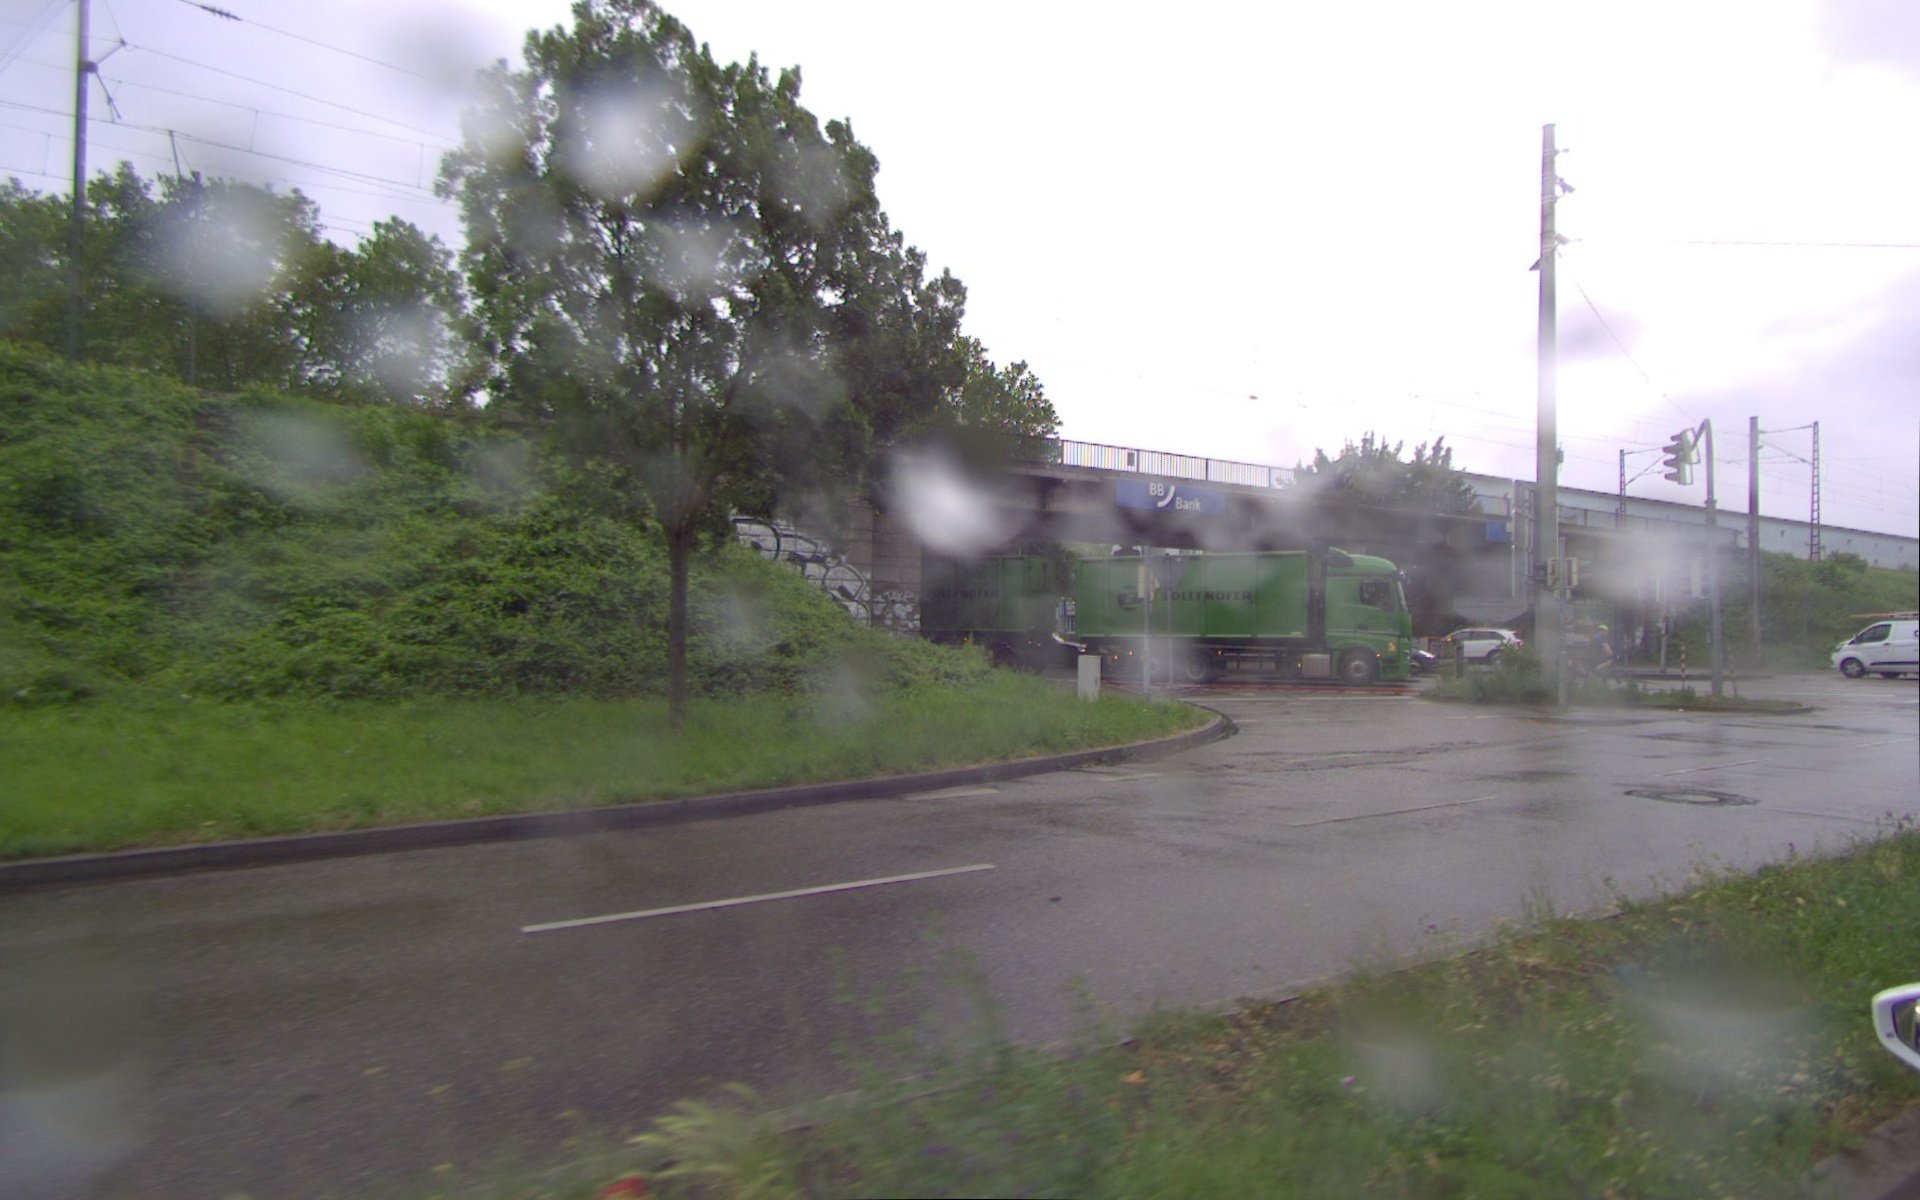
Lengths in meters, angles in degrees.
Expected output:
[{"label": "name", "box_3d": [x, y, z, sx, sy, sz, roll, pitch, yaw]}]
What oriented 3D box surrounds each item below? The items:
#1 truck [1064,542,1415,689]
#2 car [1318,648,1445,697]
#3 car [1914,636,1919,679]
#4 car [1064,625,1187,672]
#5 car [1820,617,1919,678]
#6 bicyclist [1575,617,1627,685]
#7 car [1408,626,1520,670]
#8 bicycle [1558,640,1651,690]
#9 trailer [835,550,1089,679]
[{"label": "truck", "box_3d": [8.356, 0.490, 30.587, 10.002, 4.001, 2.686, 0, -2, 25]}, {"label": "car", "box_3d": [14.380, 2.444, 34.481, 3.922, 1.566, 1.660, -1, -2, 21]}, {"label": "car", "box_3d": [38.268, 2.179, 37.145, 1.974, 1.640, 3.918, 1, -2, -26]}, {"label": "car", "box_3d": [5.831, 1.674, 35.397, 3.923, 1.594, 1.999, -1, -2, 23]}, {"label": "car", "box_3d": [32.007, 1.571, 33.490, 1.966, 1.981, 4.809, 0, -2, -13]}, {"label": "bicyclist", "box_3d": [15.712, 1.237, 24.647, 1.029, 1.614, 0.803, 1, -1, 32]}, {"label": "car", "box_3d": [22.442, 2.104, 44.767, 4.363, 1.870, 1.996, -1, -2, 31]}, {"label": "bicycle", "box_3d": [15.771, 1.575, 24.604, 1.880, 1.109, 0.693, 1, 0, 34]}, {"label": "trailer", "box_3d": [0.011, 0.511, 34.428, 8.358, 4.039, 2.688, 0, -2, 24]}]
